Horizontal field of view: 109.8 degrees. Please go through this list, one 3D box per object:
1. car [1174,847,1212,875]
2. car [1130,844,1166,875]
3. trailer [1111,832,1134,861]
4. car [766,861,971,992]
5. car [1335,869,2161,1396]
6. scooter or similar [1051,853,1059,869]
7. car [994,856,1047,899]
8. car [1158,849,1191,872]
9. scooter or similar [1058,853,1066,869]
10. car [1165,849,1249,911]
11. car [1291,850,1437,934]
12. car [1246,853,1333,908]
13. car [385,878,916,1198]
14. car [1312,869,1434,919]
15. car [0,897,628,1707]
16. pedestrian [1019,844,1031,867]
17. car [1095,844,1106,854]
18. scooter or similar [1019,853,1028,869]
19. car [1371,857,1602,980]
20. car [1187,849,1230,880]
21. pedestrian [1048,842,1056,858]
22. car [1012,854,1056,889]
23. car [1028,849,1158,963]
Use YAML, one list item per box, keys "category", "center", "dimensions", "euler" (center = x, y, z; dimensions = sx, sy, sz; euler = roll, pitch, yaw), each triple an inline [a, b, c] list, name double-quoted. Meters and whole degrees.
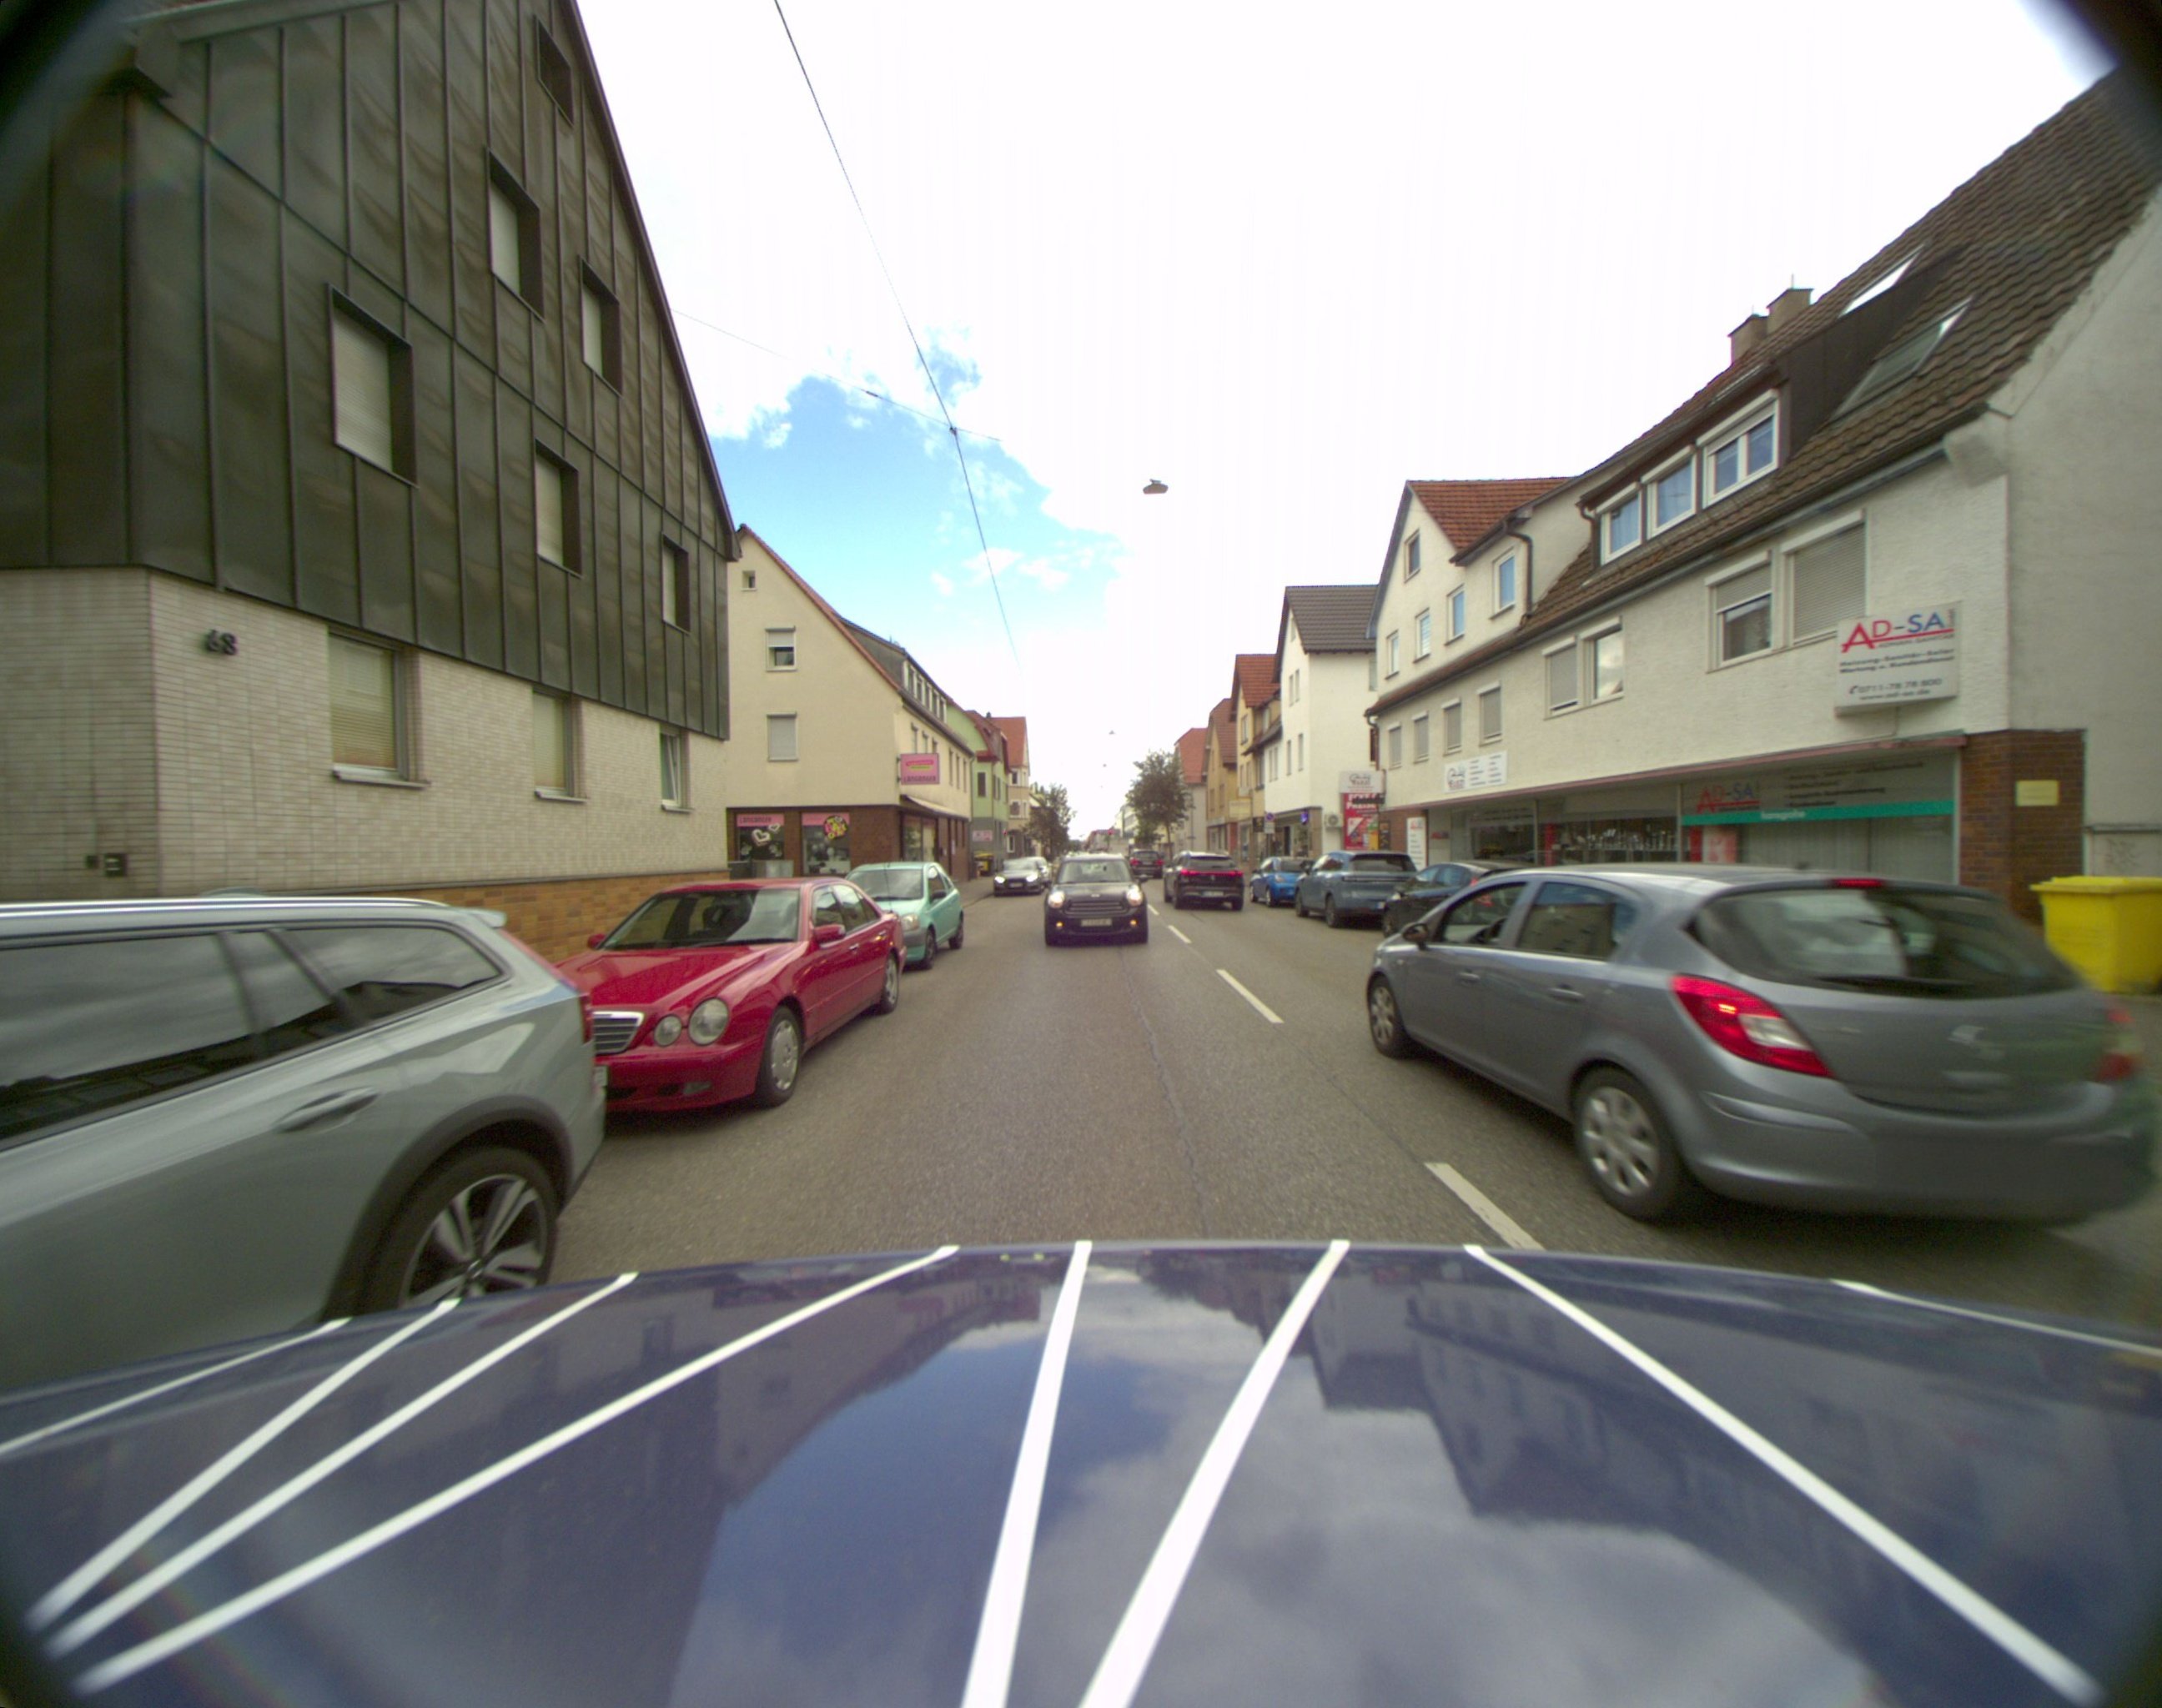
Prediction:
- category: "car"
  center: [6.519, 0.385, 44.606]
  dimensions: [1.714, 1.557, 4.113]
  euler: [0, 1, 2]
- category: "car"
  center: [3.930, 0.291, 45.131]
  dimensions: [1.905, 1.727, 4.365]
  euler: [0, 1, 2]
- category: "trailer"
  center: [4.813, -0.961, 89.687]
  dimensions: [2.509, 3.201, 7.134]
  euler: [-2, 2, 2]
- category: "car"
  center: [-2.965, 0.933, 11.553]
  dimensions: [1.835, 1.489, 3.993]
  euler: [-2, 1, 2]
- category: "car"
  center: [2.996, 0.871, 4.276]
  dimensions: [1.687, 1.439, 4.019]
  euler: [0, 1, -2]
- category: "scooter or similar"
  center: [-2.045, 0.540, 59.598]
  dimensions: [0.503, 1.228, 1.942]
  euler: [-2, 1, 0]
- category: "car"
  center: [-2.322, 0.868, 30.132]
  dimensions: [1.836, 1.437, 4.108]
  euler: [-2, 1, -2]
- category: "car"
  center: [6.144, 0.399, 50.047]
  dimensions: [1.686, 1.416, 3.930]
  euler: [0, 1, 0]
- category: "scooter or similar"
  center: [-1.509, 0.521, 59.599]
  dimensions: [0.503, 1.228, 1.942]
  euler: [-2, 1, 0]
- category: "car"
  center: [3.513, 0.666, 21.908]
  dimensions: [1.799, 1.569, 4.192]
  euler: [1, 1, 1]
- category: "car"
  center: [6.081, 0.728, 16.895]
  dimensions: [1.807, 1.590, 4.304]
  euler: [0, 1, 3]
- category: "car"
  center: [6.190, 0.727, 22.948]
  dimensions: [1.686, 1.491, 3.775]
  euler: [0, 1, 2]
- category: "car"
  center: [-2.759, 1.049, 6.250]
  dimensions: [1.759, 1.437, 4.454]
  euler: [-2, 1, 0]
- category: "car"
  center: [11.469, 1.541, 30.019]
  dimensions: [3.997, 1.692, 1.999]
  euler: [-2, 1, -1]
- category: "car"
  center: [-2.741, 0.994, 0.673]
  dimensions: [1.880, 1.530, 4.512]
  euler: [-2, 1, 1]
- category: "pedestrian"
  center: [-4.319, 0.132, 58.880]
  dimensions: [0.752, 1.710, 0.900]
  euler: [-2, 1, 1]
- category: "car"
  center: [3.564, -1.014, 139.914]
  dimensions: [1.998, 1.786, 4.276]
  euler: [0, 1, 1]
- category: "scooter or similar"
  center: [-4.373, 0.536, 57.947]
  dimensions: [0.591, 1.225, 0.891]
  euler: [-2, 1, 0]
- category: "car"
  center: [5.992, 0.844, 11.779]
  dimensions: [1.585, 1.499, 3.812]
  euler: [1, 1, 1]
- category: "car"
  center: [6.492, 0.487, 39.023]
  dimensions: [1.686, 1.485, 3.591]
  euler: [0, 1, 2]
- category: "pedestrian"
  center: [-3.690, -0.533, 96.927]
  dimensions: [0.826, 2.063, 1.011]
  euler: [2, 1, 3]
- category: "car"
  center: [-2.188, 0.798, 36.289]
  dimensions: [1.836, 1.437, 4.330]
  euler: [-2, 1, -1]
- category: "car"
  center: [0.198, 0.758, 13.528]
  dimensions: [1.847, 1.571, 4.428]
  euler: [-3, 1, 1]
